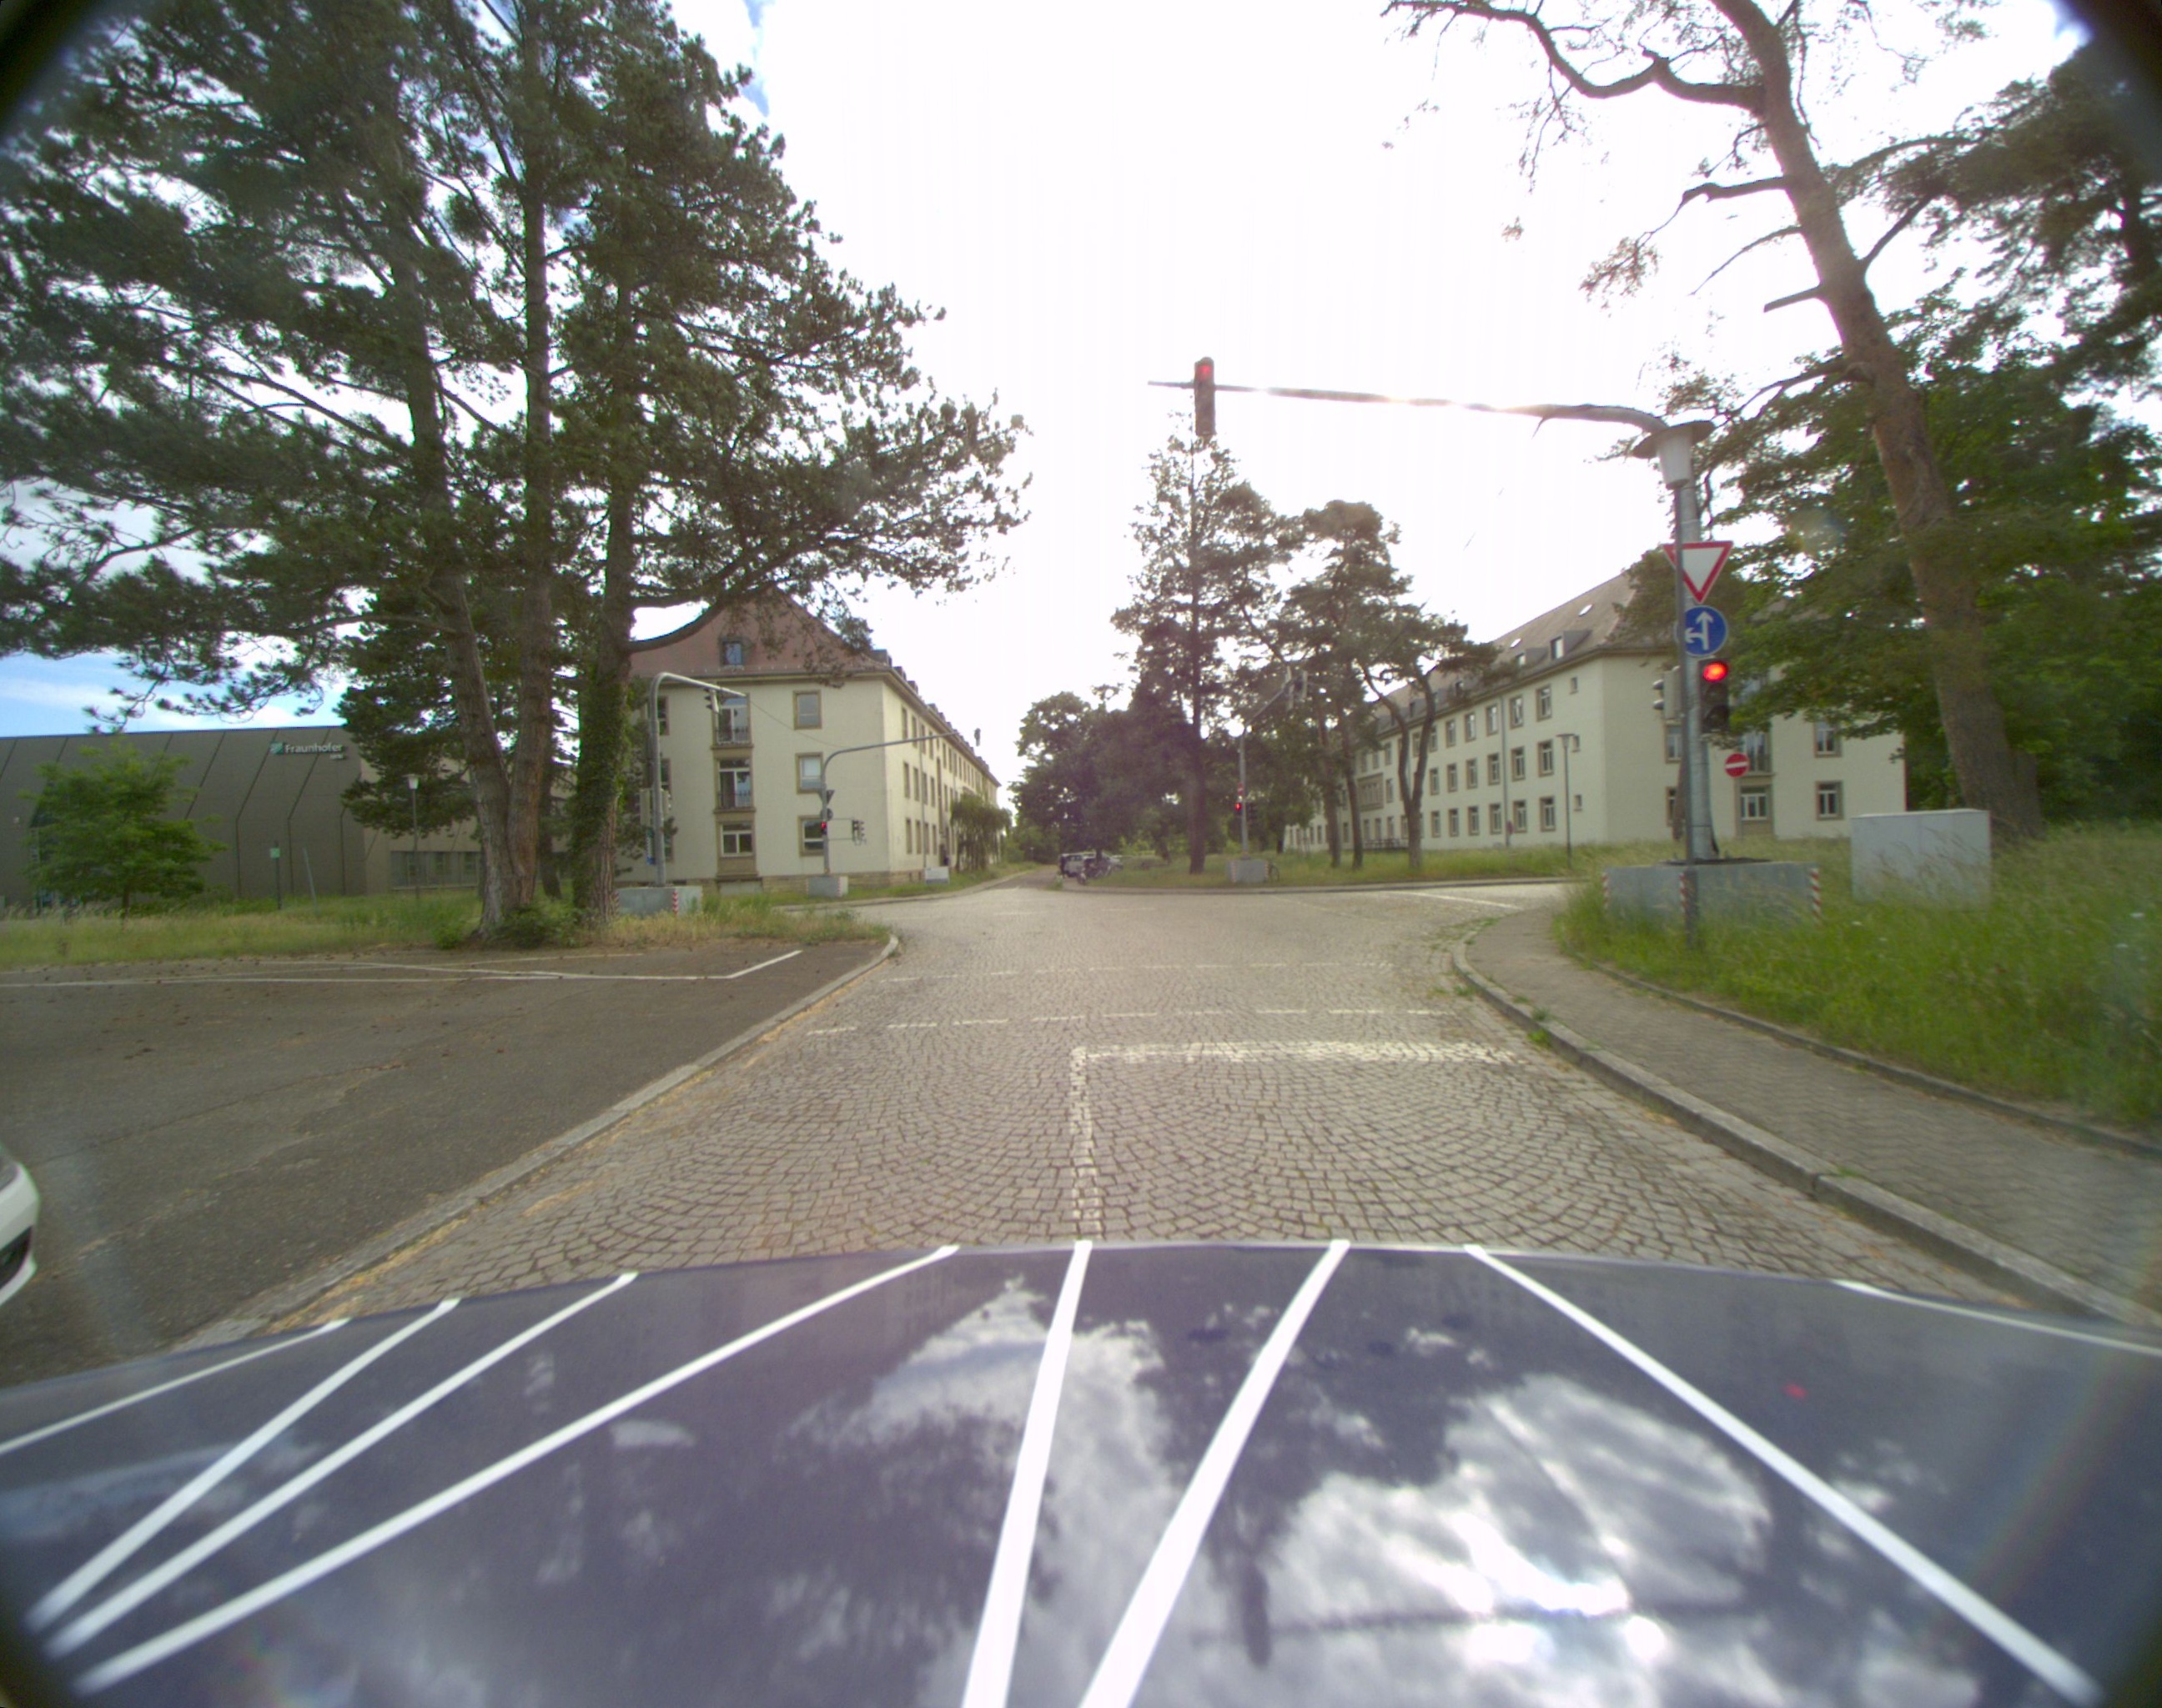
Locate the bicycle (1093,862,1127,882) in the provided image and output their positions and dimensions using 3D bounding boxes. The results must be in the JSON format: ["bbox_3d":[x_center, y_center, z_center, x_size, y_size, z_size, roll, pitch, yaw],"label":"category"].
[{"bbox_3d":[1.708,1.053,44.577,1.951,1.058,0.562,-2,0,-2],"label":"bicycle"}]

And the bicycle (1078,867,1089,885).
[{"bbox_3d":[0.137,1.135,40.053,0.459,0.903,1.663,-2,0,3],"label":"bicycle"}]

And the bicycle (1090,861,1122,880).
[{"bbox_3d":[1.538,1.024,46.829,1.951,1.058,0.562,-2,0,-2],"label":"bicycle"}]

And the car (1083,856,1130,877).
[{"bbox_3d":[1.899,0.926,58.290,3.440,1.440,1.913,-2,0,-2],"label":"car"}]

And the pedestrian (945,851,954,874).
[{"bbox_3d":[-10.168,0.656,58.778,0.568,1.691,0.532,-2,1,3],"label":"pedestrian"}]

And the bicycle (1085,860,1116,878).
[{"bbox_3d":[1.296,0.989,50.084,1.951,1.058,0.562,-2,0,-2],"label":"bicycle"}]

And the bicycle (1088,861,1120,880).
[{"bbox_3d":[1.427,1.020,47.375,1.951,1.058,0.562,-2,0,-2],"label":"bicycle"}]

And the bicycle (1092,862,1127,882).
[{"bbox_3d":[1.633,1.039,44.047,1.951,1.104,0.562,-2,0,-2],"label":"bicycle"}]

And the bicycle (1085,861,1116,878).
[{"bbox_3d":[1.297,0.997,49.484,1.951,1.058,0.562,-2,0,-2],"label":"bicycle"}]

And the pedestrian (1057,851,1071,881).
[{"bbox_3d":[-1.121,0.797,50.581,0.589,1.926,0.792,-2,1,-26],"label":"pedestrian"}]

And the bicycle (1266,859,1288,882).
[{"bbox_3d":[7.991,0.654,30.979,0.294,0.911,1.052,-2,0,-22],"label":"bicycle"}]

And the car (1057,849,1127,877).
[{"bbox_3d":[0.873,0.707,61.912,5.367,1.987,2.289,-2,0,-9],"label":"car"}]

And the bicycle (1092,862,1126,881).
[{"bbox_3d":[1.692,1.038,45.710,1.951,1.058,0.562,-2,0,-2],"label":"bicycle"}]

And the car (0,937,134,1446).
[{"bbox_3d":[-5.595,1.047,1.651,4.505,1.556,1.905,1,0,-3],"label":"car"}]

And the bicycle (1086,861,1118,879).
[{"bbox_3d":[1.350,1.013,48.081,1.951,1.058,0.562,-2,0,-2],"label":"bicycle"}]

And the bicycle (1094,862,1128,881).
[{"bbox_3d":[1.784,1.042,45.225,1.951,1.058,0.562,-2,0,-2],"label":"bicycle"}]

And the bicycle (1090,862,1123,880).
[{"bbox_3d":[1.568,1.029,46.289,1.951,1.058,0.562,-2,0,-2],"label":"bicycle"}]

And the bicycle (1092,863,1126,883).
[{"bbox_3d":[1.585,1.072,43.492,1.899,1.058,0.616,-2,0,-2],"label":"bicycle"}]

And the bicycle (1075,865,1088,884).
[{"bbox_3d":[0.030,1.130,41.874,0.459,0.968,1.663,-2,0,8],"label":"bicycle"}]
